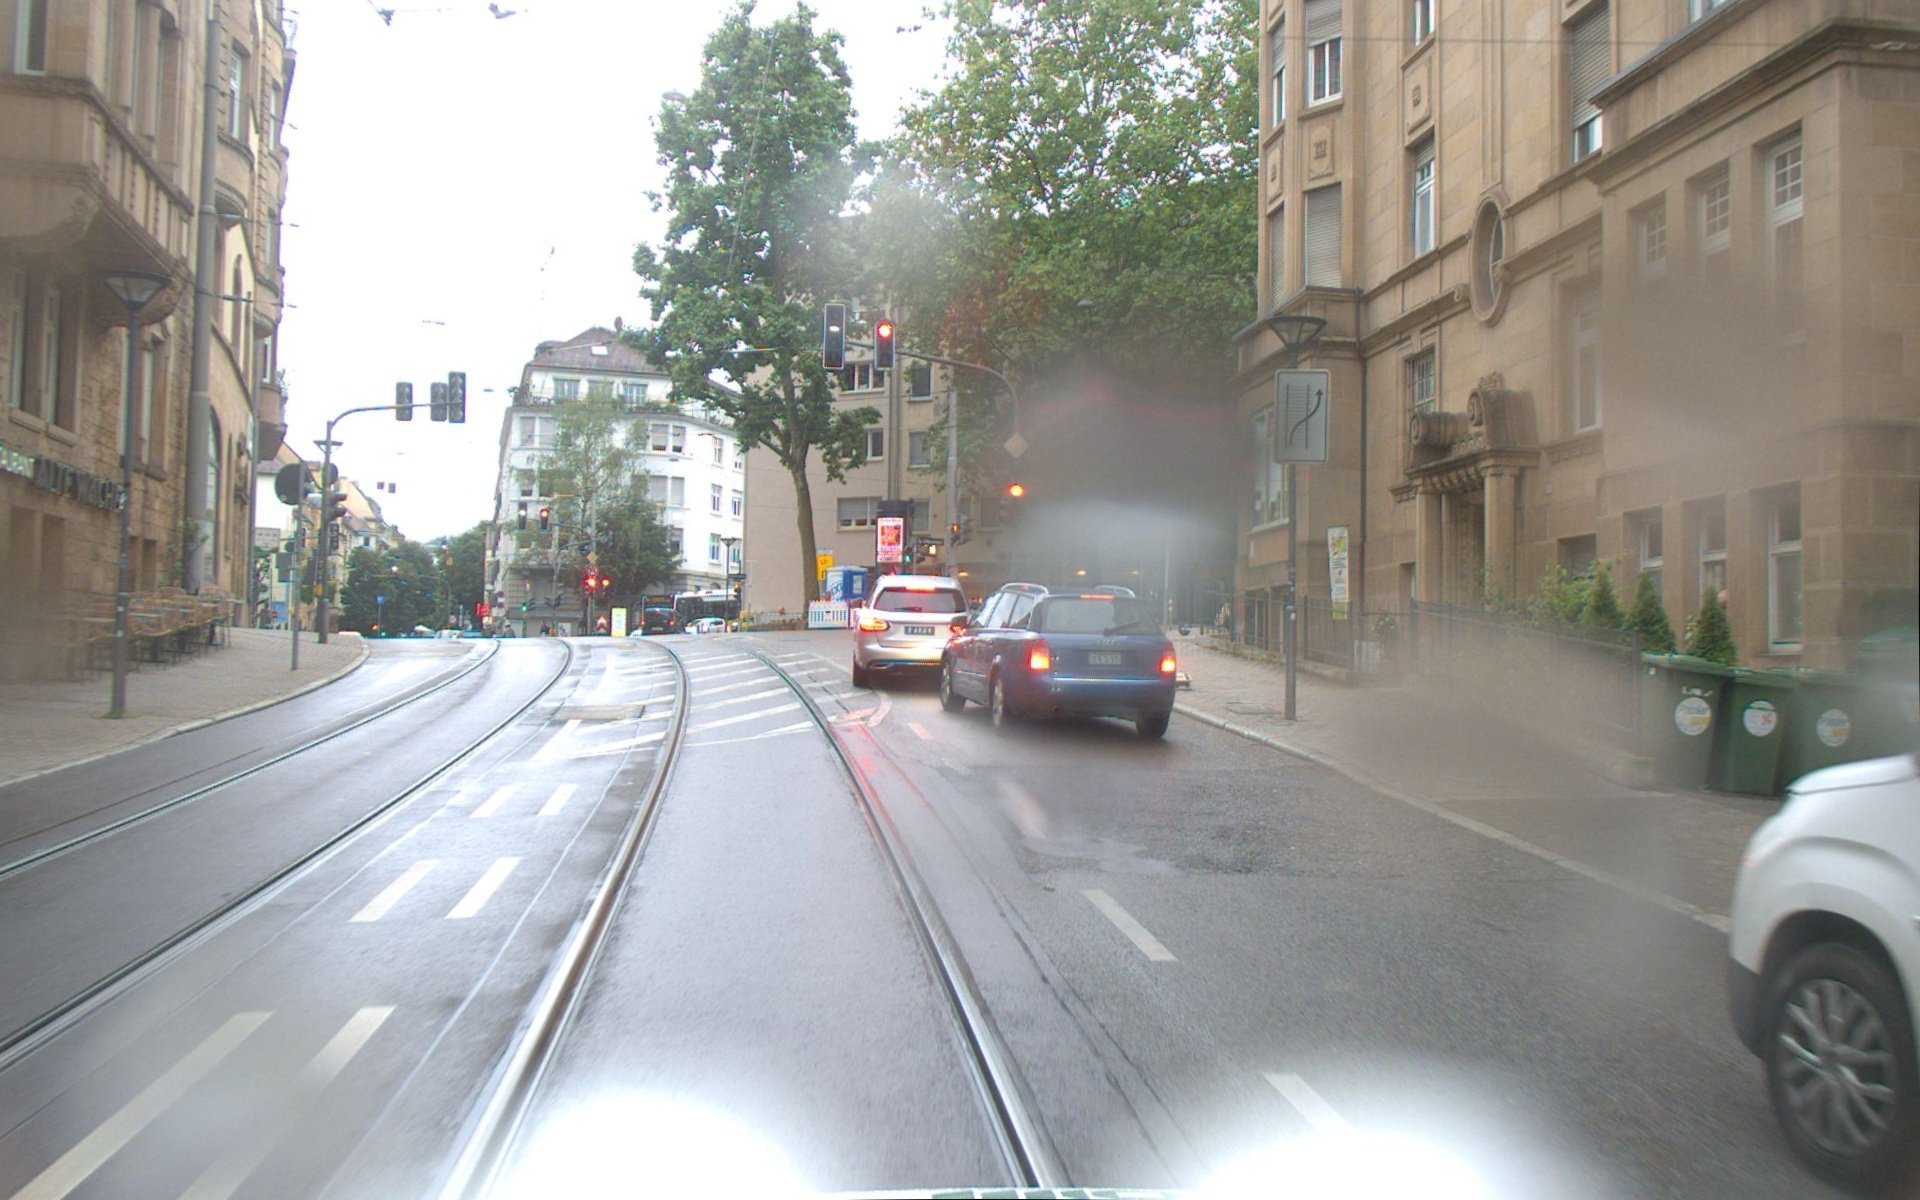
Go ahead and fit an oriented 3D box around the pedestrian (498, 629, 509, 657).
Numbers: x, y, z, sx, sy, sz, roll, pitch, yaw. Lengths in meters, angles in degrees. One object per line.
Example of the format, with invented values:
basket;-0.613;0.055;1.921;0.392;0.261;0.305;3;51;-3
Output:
pedestrian;-28.984;2.722;105.061;0.637;1.690;0.647;2;0;-17

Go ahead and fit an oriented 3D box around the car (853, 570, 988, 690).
car;-0.610;0.357;22.970;1.676;1.481;3.550;2;1;-4

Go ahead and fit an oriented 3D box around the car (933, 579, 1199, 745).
car;0.957;0.554;17.176;1.680;1.440;4.024;2;1;-12

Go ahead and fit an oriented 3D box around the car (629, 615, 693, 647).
car;-17.145;1.764;94.975;1.757;1.642;4.000;1;1;21

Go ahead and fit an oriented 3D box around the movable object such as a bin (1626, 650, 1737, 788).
movable object such as a bin;5.895;0.963;13.531;0.527;1.044;0.603;5;-1;-8

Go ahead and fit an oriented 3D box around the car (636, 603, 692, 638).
car;-14.087;0.961;78.910;1.757;1.536;4.002;-2;1;3

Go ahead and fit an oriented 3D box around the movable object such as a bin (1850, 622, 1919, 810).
movable object such as a bin;7.994;0.954;13.165;0.953;1.456;1.277;5;-1;-8

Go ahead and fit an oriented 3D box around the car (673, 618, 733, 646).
car;-15.443;1.885;99.579;1.757;1.536;4.000;1;1;21

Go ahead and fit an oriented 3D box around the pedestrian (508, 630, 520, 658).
pedestrian;-27.585;2.699;102.289;0.637;1.690;0.647;2;0;-17

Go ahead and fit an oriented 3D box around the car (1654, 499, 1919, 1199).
car;3.383;0.708;3.217;1.763;1.795;4.457;3;1;-6

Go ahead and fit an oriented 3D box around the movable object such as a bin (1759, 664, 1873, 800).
movable object such as a bin;7.082;1.080;13.696;0.527;1.044;0.603;5;-1;-8

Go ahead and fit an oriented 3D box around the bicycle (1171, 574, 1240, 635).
bicycle;4.970;0.082;33.492;1.276;1.194;0.525;-1;1;-8

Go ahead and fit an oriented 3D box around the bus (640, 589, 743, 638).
bus;-17.051;0.778;105.727;2.794;2.911;8.738;1;1;18

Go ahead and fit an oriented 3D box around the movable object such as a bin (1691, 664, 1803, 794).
movable object such as a bin;6.459;1.048;13.597;0.527;0.985;0.603;5;-1;-8
